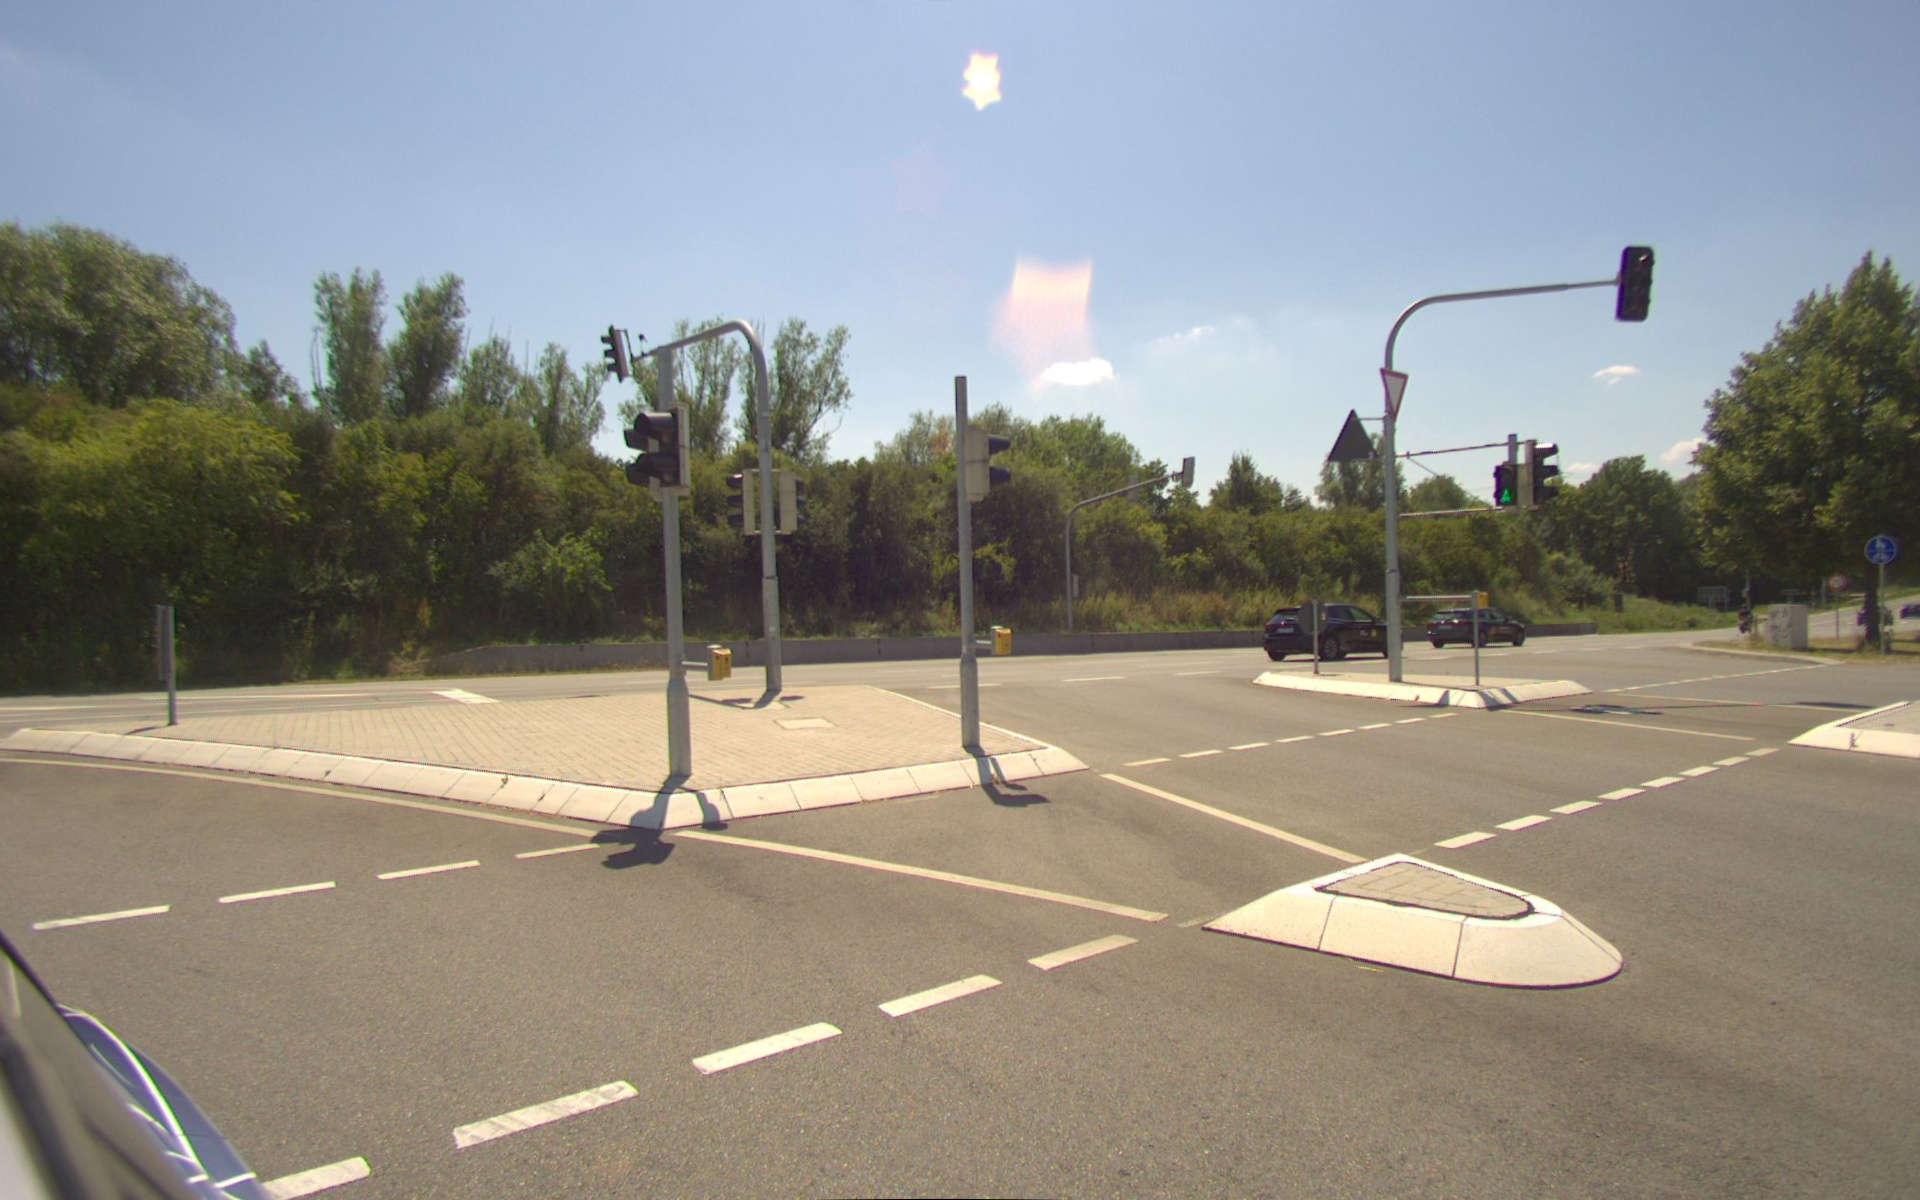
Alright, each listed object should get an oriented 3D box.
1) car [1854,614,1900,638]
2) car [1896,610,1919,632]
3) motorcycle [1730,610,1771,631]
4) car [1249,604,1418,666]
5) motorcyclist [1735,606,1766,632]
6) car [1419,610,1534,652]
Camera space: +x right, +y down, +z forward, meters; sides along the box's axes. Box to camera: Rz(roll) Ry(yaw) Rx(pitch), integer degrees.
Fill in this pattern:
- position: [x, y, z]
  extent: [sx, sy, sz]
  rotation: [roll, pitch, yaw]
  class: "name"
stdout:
- position: [70.039, 1.981, 77.263]
  extent: [3.936, 1.763, 2.004]
  rotation: [2, -3, -39]
  class: "car"
- position: [90.983, 2.021, 96.511]
  extent: [3.937, 2.029, 2.003]
  rotation: [2, -3, -40]
  class: "car"
- position: [43.616, 1.124, 55.807]
  extent: [2.132, 1.150, 0.866]
  rotation: [0, -2, -25]
  class: "motorcycle"
- position: [9.738, 0.875, 26.322]
  extent: [4.225, 1.453, 1.745]
  rotation: [-1, -2, -29]
  class: "car"
- position: [43.601, 1.038, 55.817]
  extent: [1.155, 1.423, 0.878]
  rotation: [1, -3, -25]
  class: "motorcyclist"
- position: [18.997, 1.150, 37.212]
  extent: [4.317, 1.453, 1.744]
  rotation: [1, -3, -31]
  class: "car"
